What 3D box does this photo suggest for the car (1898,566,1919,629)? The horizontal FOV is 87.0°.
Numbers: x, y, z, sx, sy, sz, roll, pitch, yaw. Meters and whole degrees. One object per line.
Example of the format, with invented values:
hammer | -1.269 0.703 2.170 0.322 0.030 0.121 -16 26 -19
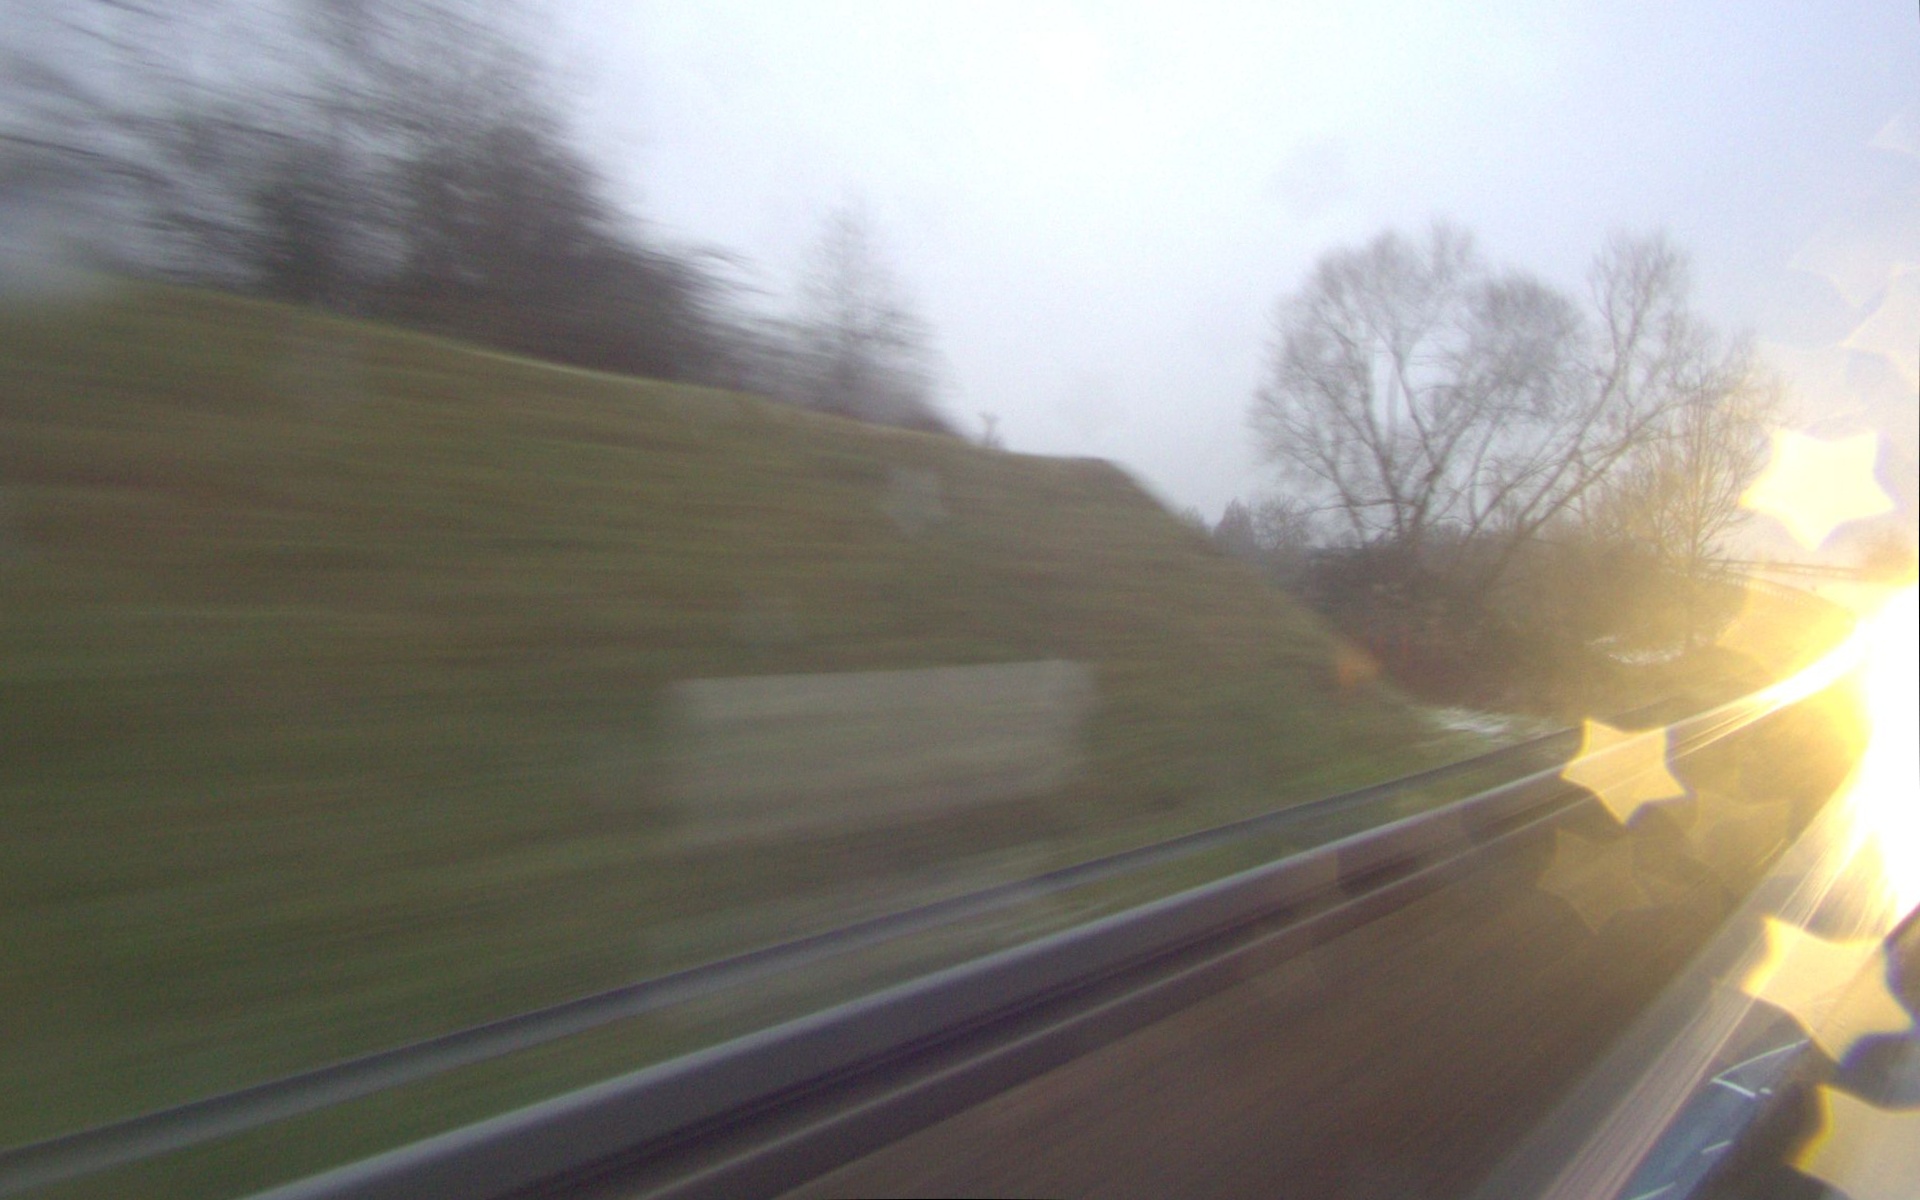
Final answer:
car | 26.105 -0.006 26.287 2.094 1.594 4.733 4 2 38
